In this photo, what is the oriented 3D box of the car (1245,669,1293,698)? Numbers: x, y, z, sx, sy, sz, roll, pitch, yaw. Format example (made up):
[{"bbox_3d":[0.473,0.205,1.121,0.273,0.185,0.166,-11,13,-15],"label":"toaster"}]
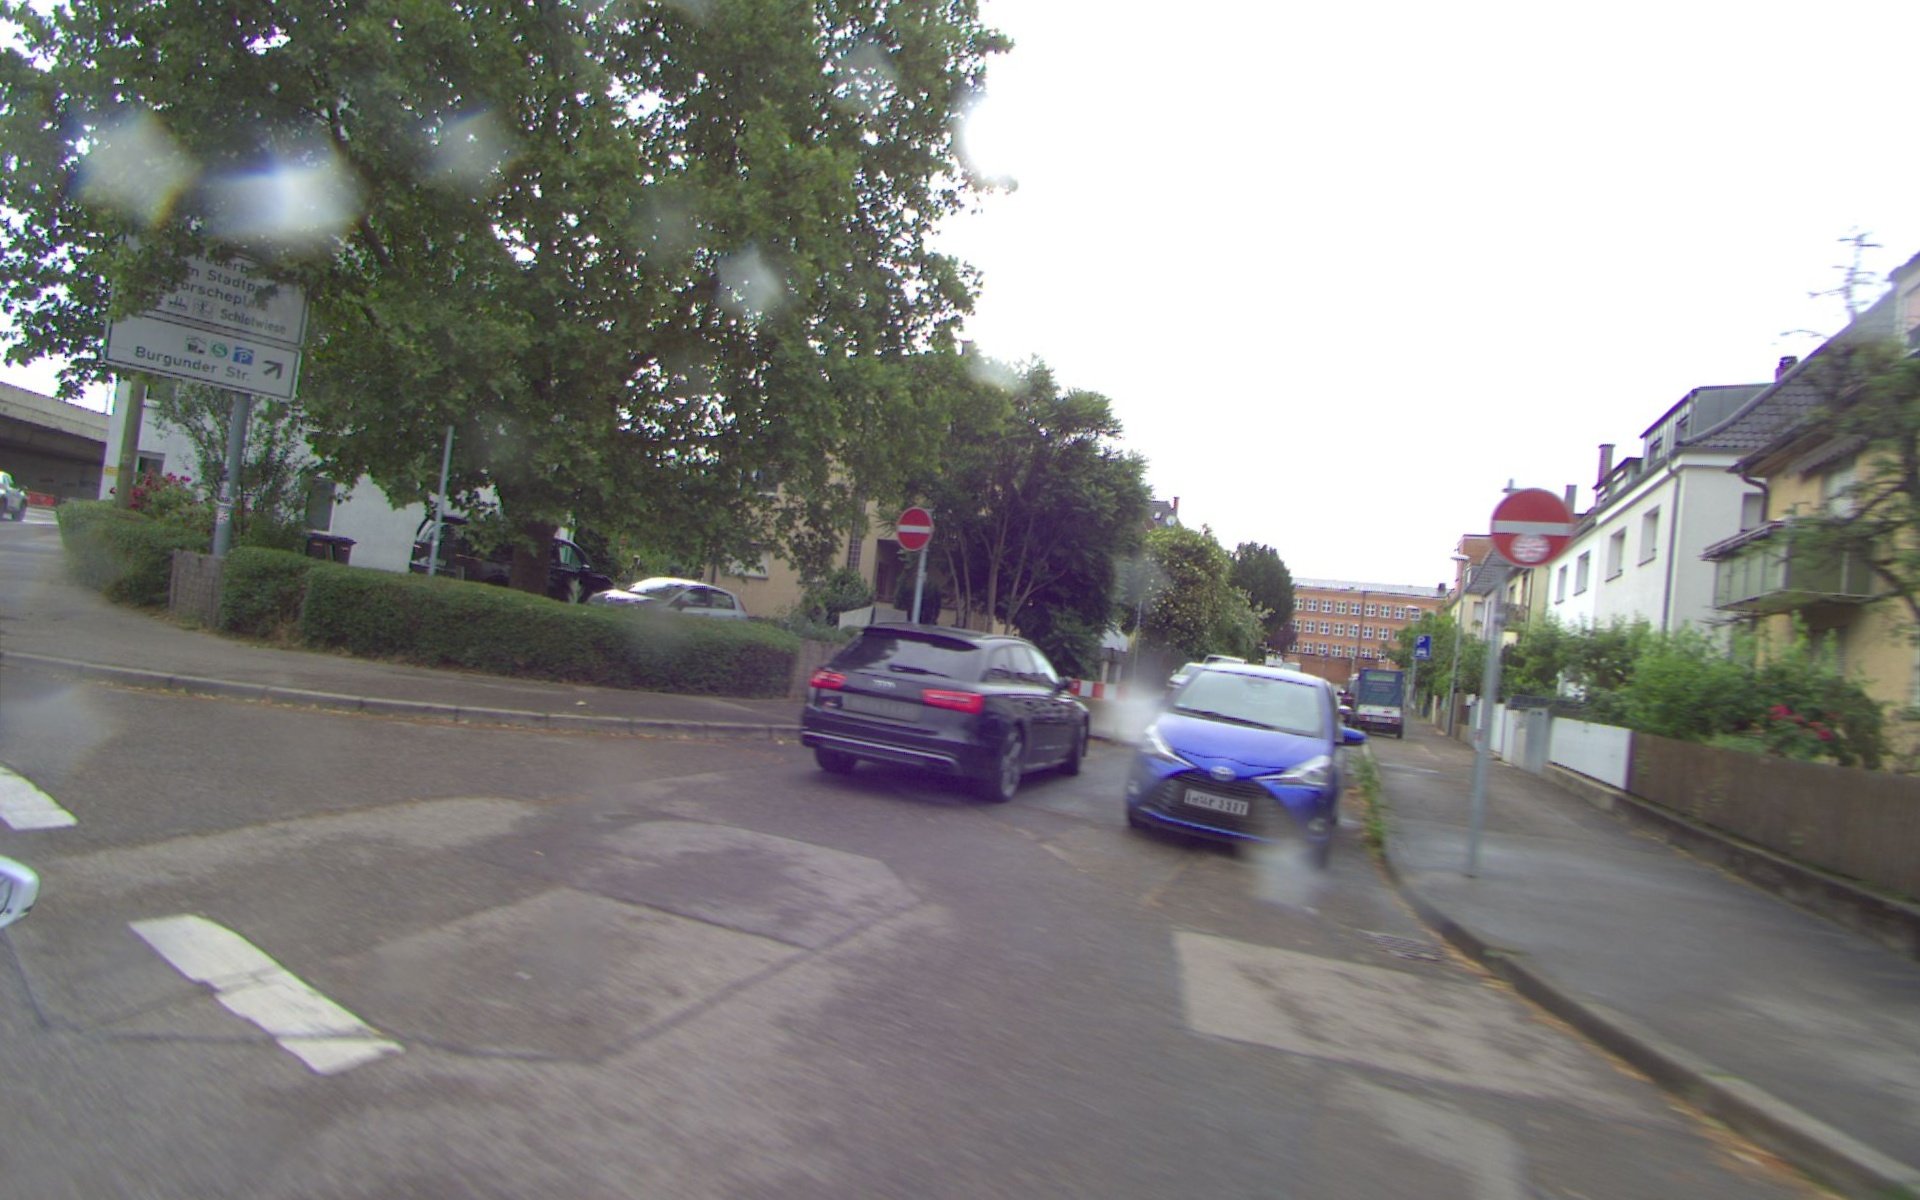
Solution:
[{"bbox_3d":[18.832,5.092,61.185,1.965,1.396,3.998,8,-1,27],"label":"car"}]

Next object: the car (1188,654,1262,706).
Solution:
[{"bbox_3d":[11.046,3.337,41.680,1.965,1.796,3.998,8,-1,27],"label":"car"}]

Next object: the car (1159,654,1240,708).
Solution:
[{"bbox_3d":[8.804,2.954,36.757,1.964,1.575,3.999,8,-1,25],"label":"car"}]

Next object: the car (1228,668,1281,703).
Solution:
[{"bbox_3d":[15.220,4.428,51.856,1.736,1.471,3.998,8,-1,27],"label":"car"}]

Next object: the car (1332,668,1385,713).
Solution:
[{"bbox_3d":[20.962,4.742,53.059,1.962,2.036,4.005,8,-2,16],"label":"car"}]

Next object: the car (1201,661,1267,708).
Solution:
[{"bbox_3d":[12.626,3.895,46.178,1.965,1.748,3.998,8,-1,27],"label":"car"}]

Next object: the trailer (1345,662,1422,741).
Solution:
[{"bbox_3d":[12.905,3.055,30.846,1.641,2.037,3.493,8,-1,18],"label":"trailer"}]

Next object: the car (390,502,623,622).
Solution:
[{"bbox_3d":[-9.834,-0.733,22.269,1.963,1.954,4.417,8,-1,21],"label":"car"}]

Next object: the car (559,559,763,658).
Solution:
[{"bbox_3d":[-6.292,0.255,21.631,1.790,1.598,3.999,8,-1,27],"label":"car"}]

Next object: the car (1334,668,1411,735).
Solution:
[{"bbox_3d":[14.140,3.447,34.694,1.963,1.860,4.582,8,-1,19],"label":"car"}]

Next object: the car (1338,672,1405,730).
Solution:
[{"bbox_3d":[16.123,3.934,39.654,1.963,1.860,4.582,8,-1,19],"label":"car"}]

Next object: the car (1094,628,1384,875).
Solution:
[{"bbox_3d":[2.809,1.234,9.353,1.852,1.498,4.126,8,-1,24],"label":"car"}]

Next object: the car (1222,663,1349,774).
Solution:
[{"bbox_3d":[5.823,2.022,17.740,1.739,1.470,3.787,8,-1,22],"label":"car"}]

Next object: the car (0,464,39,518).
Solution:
[{"bbox_3d":[-31.850,-3.683,32.700,1.981,1.567,3.966,9,-2,-32],"label":"car"}]

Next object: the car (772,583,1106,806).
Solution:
[{"bbox_3d":[0.117,0.872,10.345,1.850,1.498,4.821,8,-1,17],"label":"car"}]
